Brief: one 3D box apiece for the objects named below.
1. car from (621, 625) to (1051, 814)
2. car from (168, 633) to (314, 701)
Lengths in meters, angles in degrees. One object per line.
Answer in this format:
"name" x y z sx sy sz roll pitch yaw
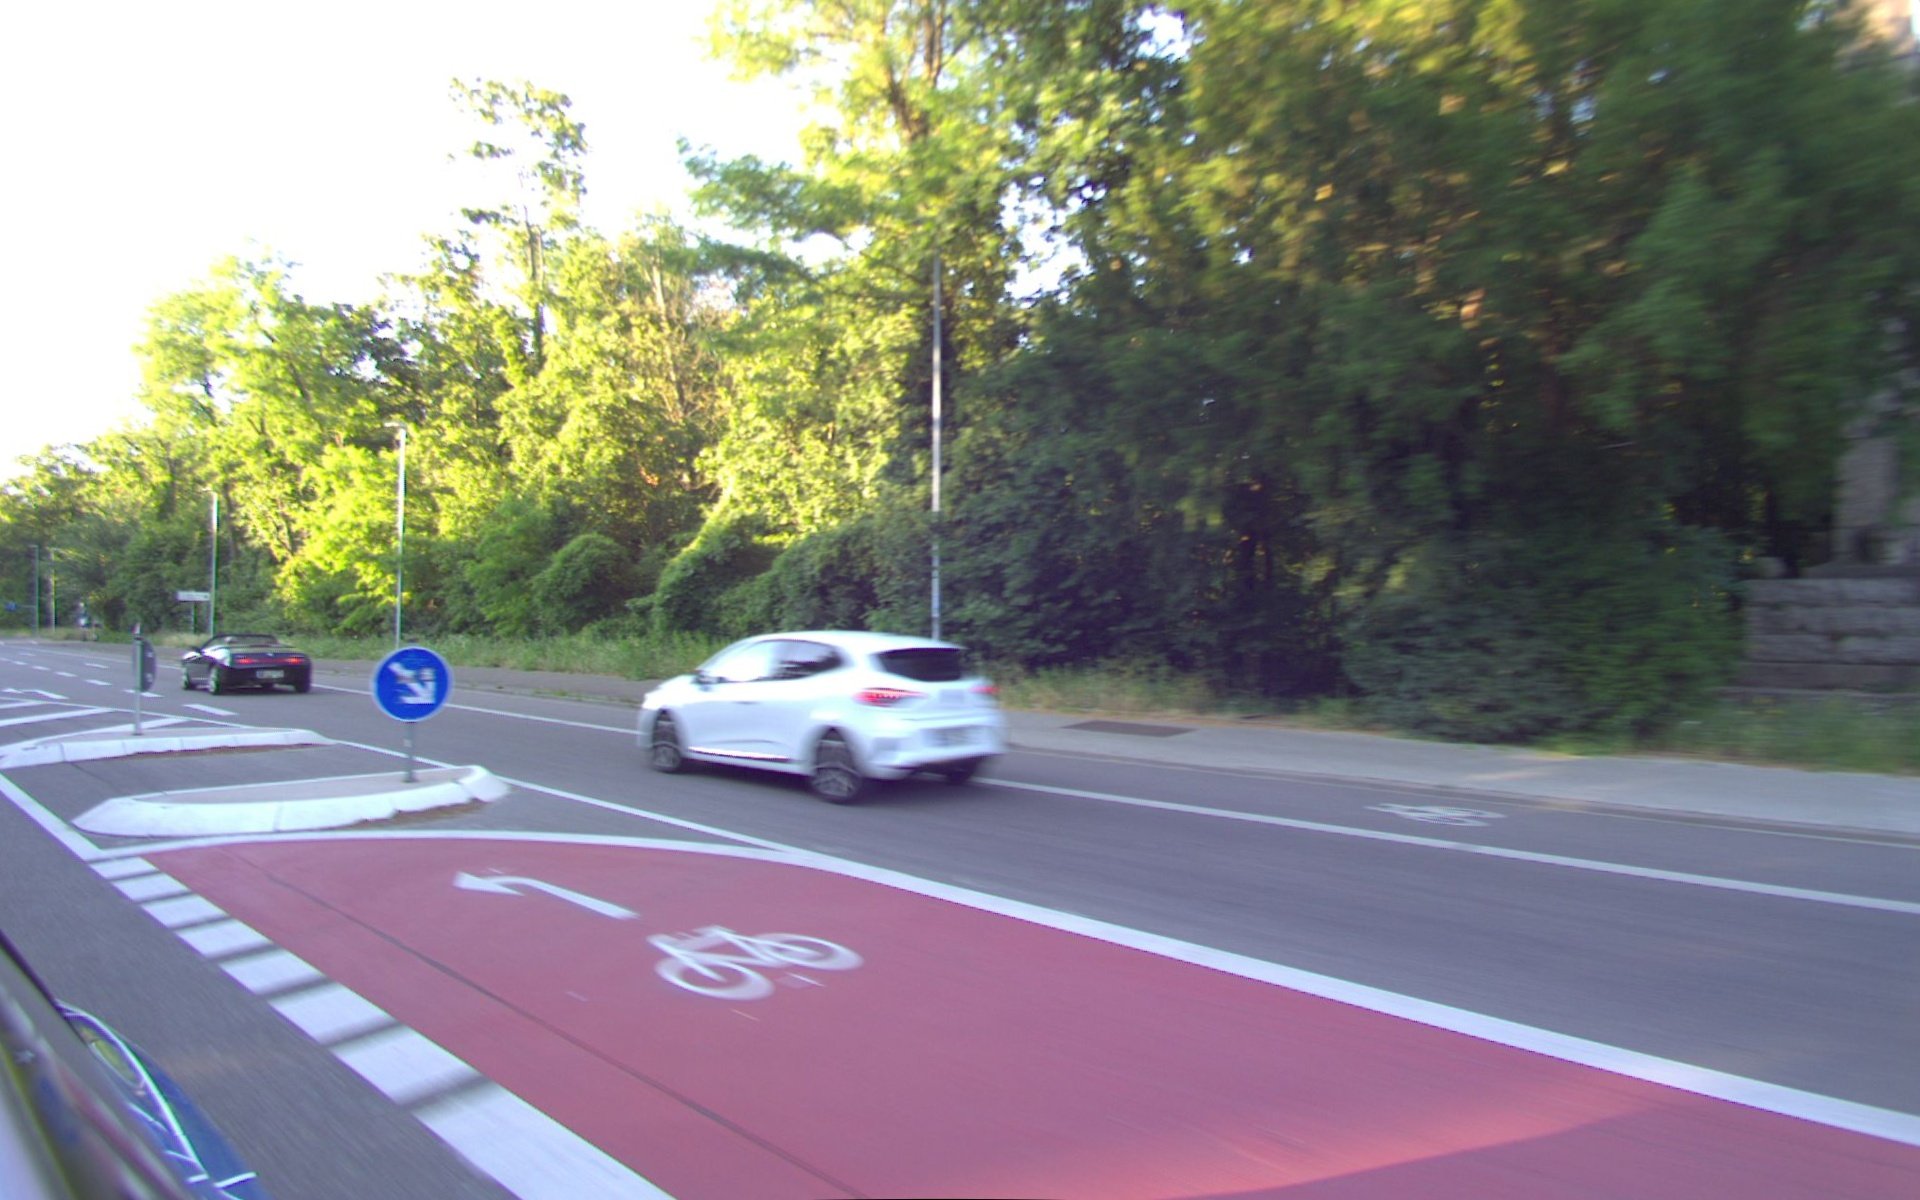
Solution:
"car" -1.343 0.957 9.718 4.179 1.425 1.827 -1 -2 42
"car" -15.727 1.394 22.082 3.999 1.316 1.731 -1 -2 42
